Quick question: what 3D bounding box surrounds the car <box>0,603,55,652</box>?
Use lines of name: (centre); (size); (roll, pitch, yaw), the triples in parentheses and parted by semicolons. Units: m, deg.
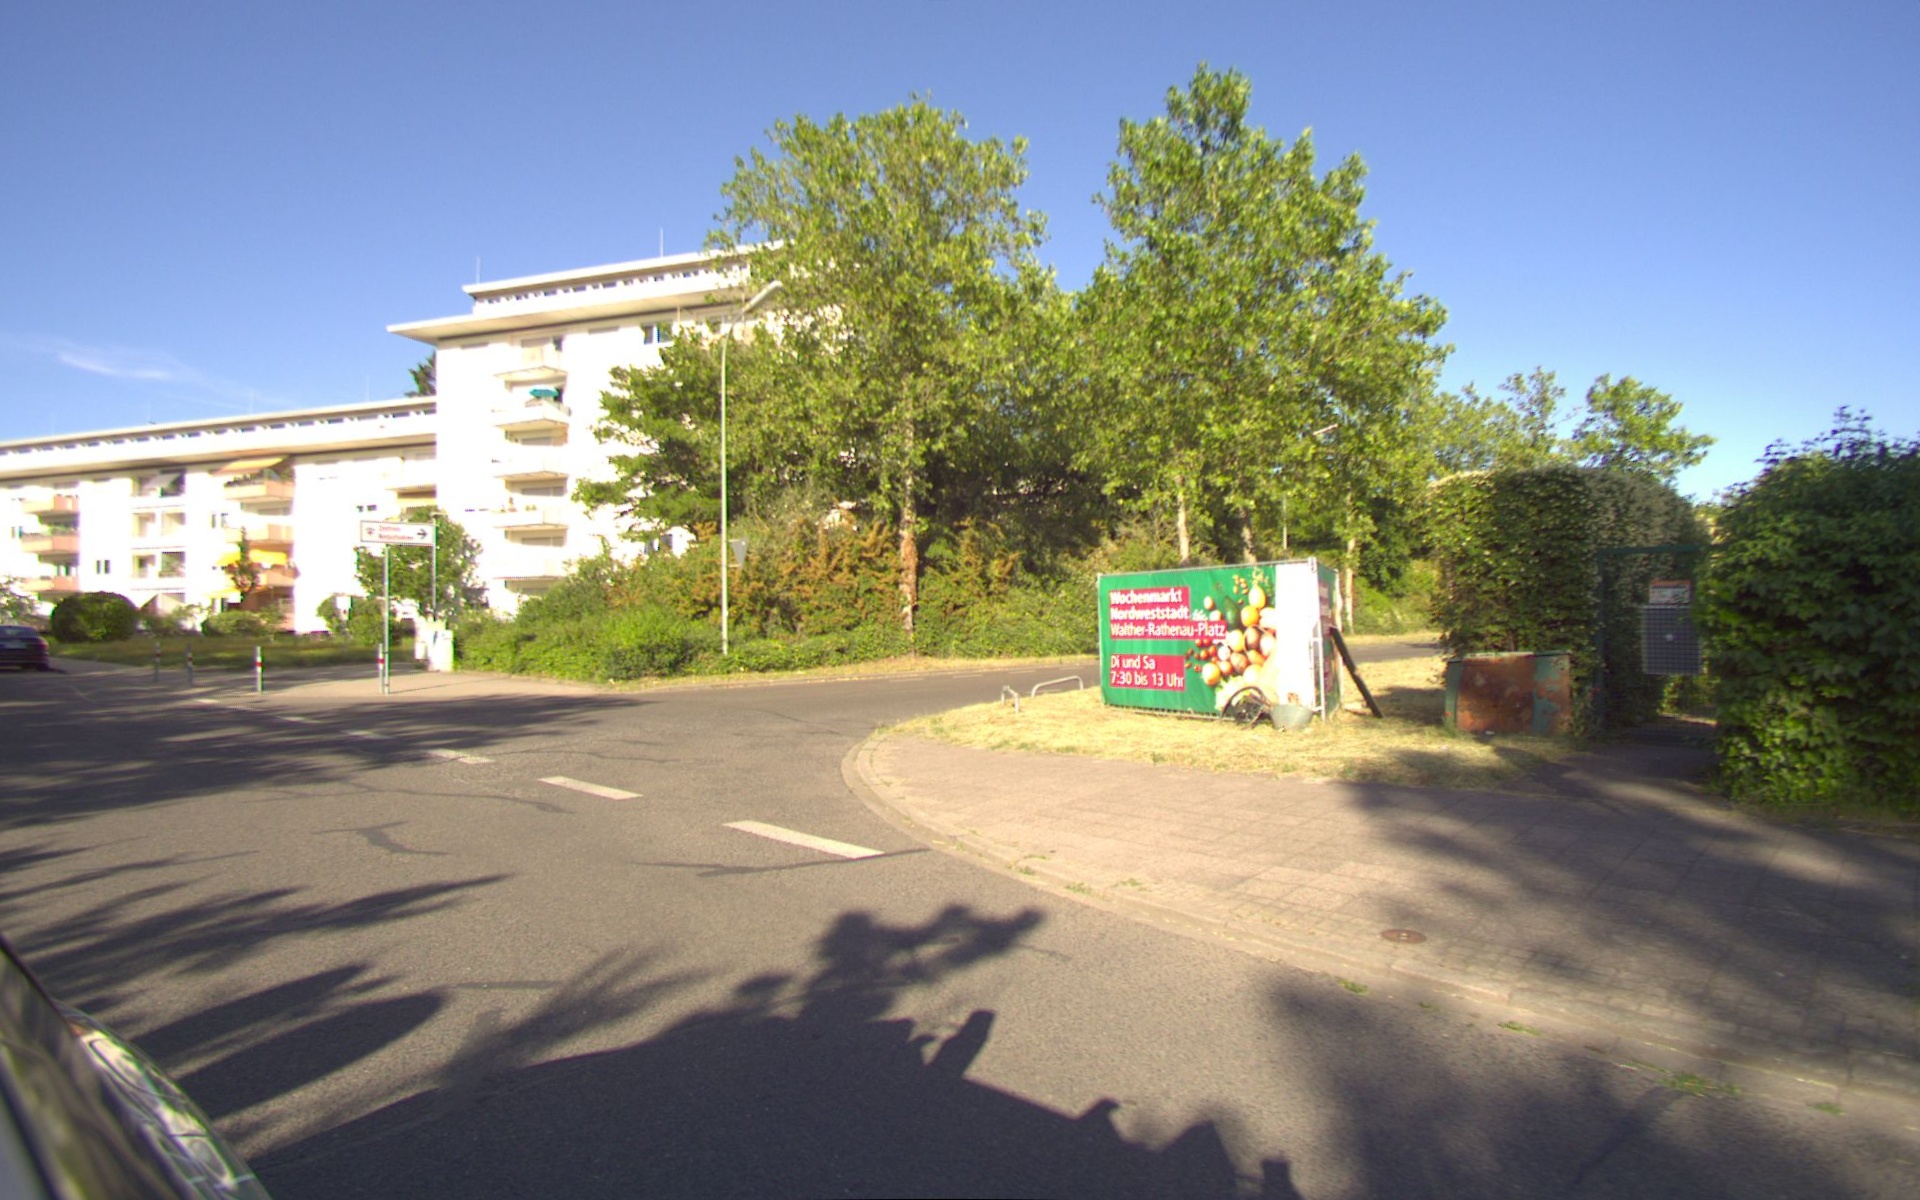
car: (-30.185, 0.887, 31.943); (4.677, 1.475, 1.710); (-2, -2, 40)

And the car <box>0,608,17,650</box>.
car: (-35.273, 1.033, 36.238); (4.017, 1.465, 1.820); (-2, -2, 42)
